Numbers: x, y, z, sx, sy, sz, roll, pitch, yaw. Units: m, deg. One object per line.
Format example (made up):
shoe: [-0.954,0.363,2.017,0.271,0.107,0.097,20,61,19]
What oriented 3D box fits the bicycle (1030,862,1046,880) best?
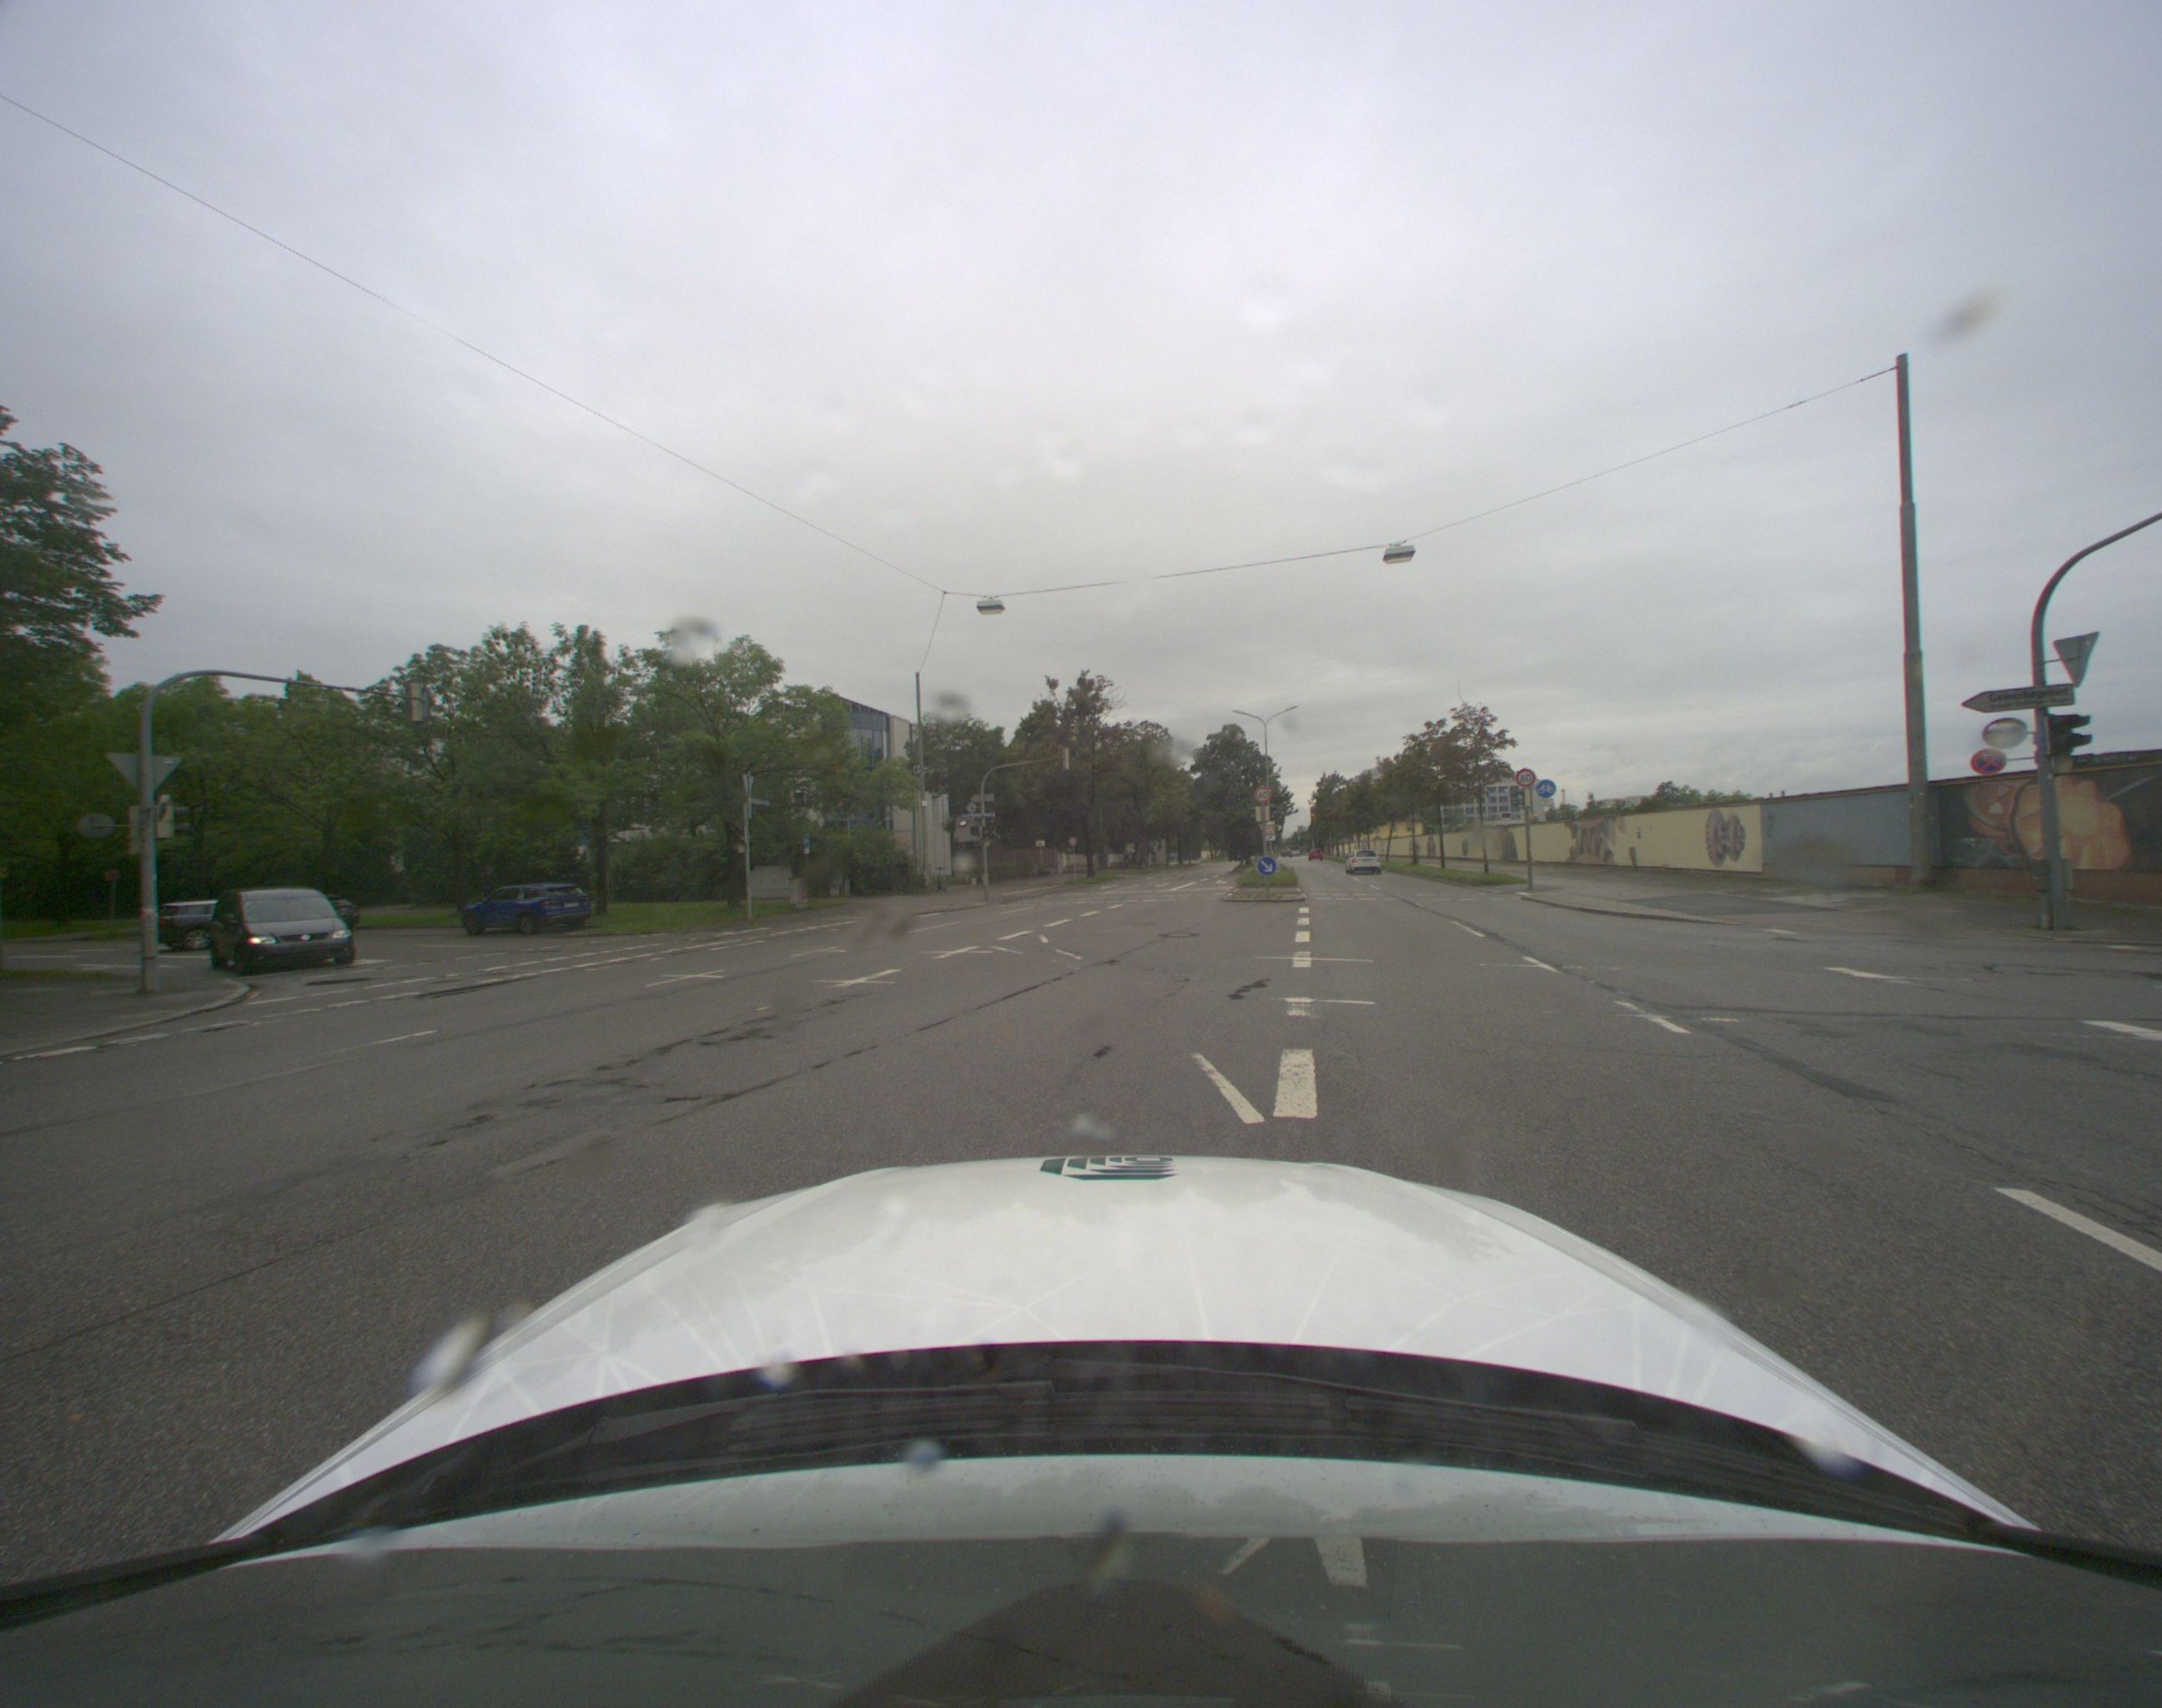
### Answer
bicycle: [-3.196,1.251,61.381,0.578,1.295,2.462,-1,0,11]

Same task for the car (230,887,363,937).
car: [-30.257,2.234,31.438,4.120,1.574,1.771,-3,1,16]

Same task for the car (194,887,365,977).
car: [-18.391,1.726,18.622,4.728,1.723,2.013,-4,-2,36]

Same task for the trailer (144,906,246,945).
trailer: [-35.554,2.836,32.689,3.305,1.414,1.458,-1,0,17]

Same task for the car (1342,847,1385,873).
car: [16.916,0.350,48.989,1.865,1.468,4.516,-1,0,12]

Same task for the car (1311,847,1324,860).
car: [32.285,-0.111,111.128,1.474,1.715,3.563,-1,0,12]

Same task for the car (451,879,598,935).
car: [-18.848,1.780,27.594,4.231,1.574,2.011,-3,1,22]

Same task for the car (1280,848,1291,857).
car: [42.798,-0.354,170.149,2.070,1.866,4.401,-1,0,12]

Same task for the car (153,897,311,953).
car: [-26.253,2.159,25.318,1.644,1.444,3.300,-4,-2,45]

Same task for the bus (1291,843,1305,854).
bus: [61.779,-1.490,232.172,3.199,3.127,10.381,-1,0,13]

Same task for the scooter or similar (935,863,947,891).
scooter or similar: [-7.275,1.195,42.400,0.369,1.424,1.405,-1,0,-1]
